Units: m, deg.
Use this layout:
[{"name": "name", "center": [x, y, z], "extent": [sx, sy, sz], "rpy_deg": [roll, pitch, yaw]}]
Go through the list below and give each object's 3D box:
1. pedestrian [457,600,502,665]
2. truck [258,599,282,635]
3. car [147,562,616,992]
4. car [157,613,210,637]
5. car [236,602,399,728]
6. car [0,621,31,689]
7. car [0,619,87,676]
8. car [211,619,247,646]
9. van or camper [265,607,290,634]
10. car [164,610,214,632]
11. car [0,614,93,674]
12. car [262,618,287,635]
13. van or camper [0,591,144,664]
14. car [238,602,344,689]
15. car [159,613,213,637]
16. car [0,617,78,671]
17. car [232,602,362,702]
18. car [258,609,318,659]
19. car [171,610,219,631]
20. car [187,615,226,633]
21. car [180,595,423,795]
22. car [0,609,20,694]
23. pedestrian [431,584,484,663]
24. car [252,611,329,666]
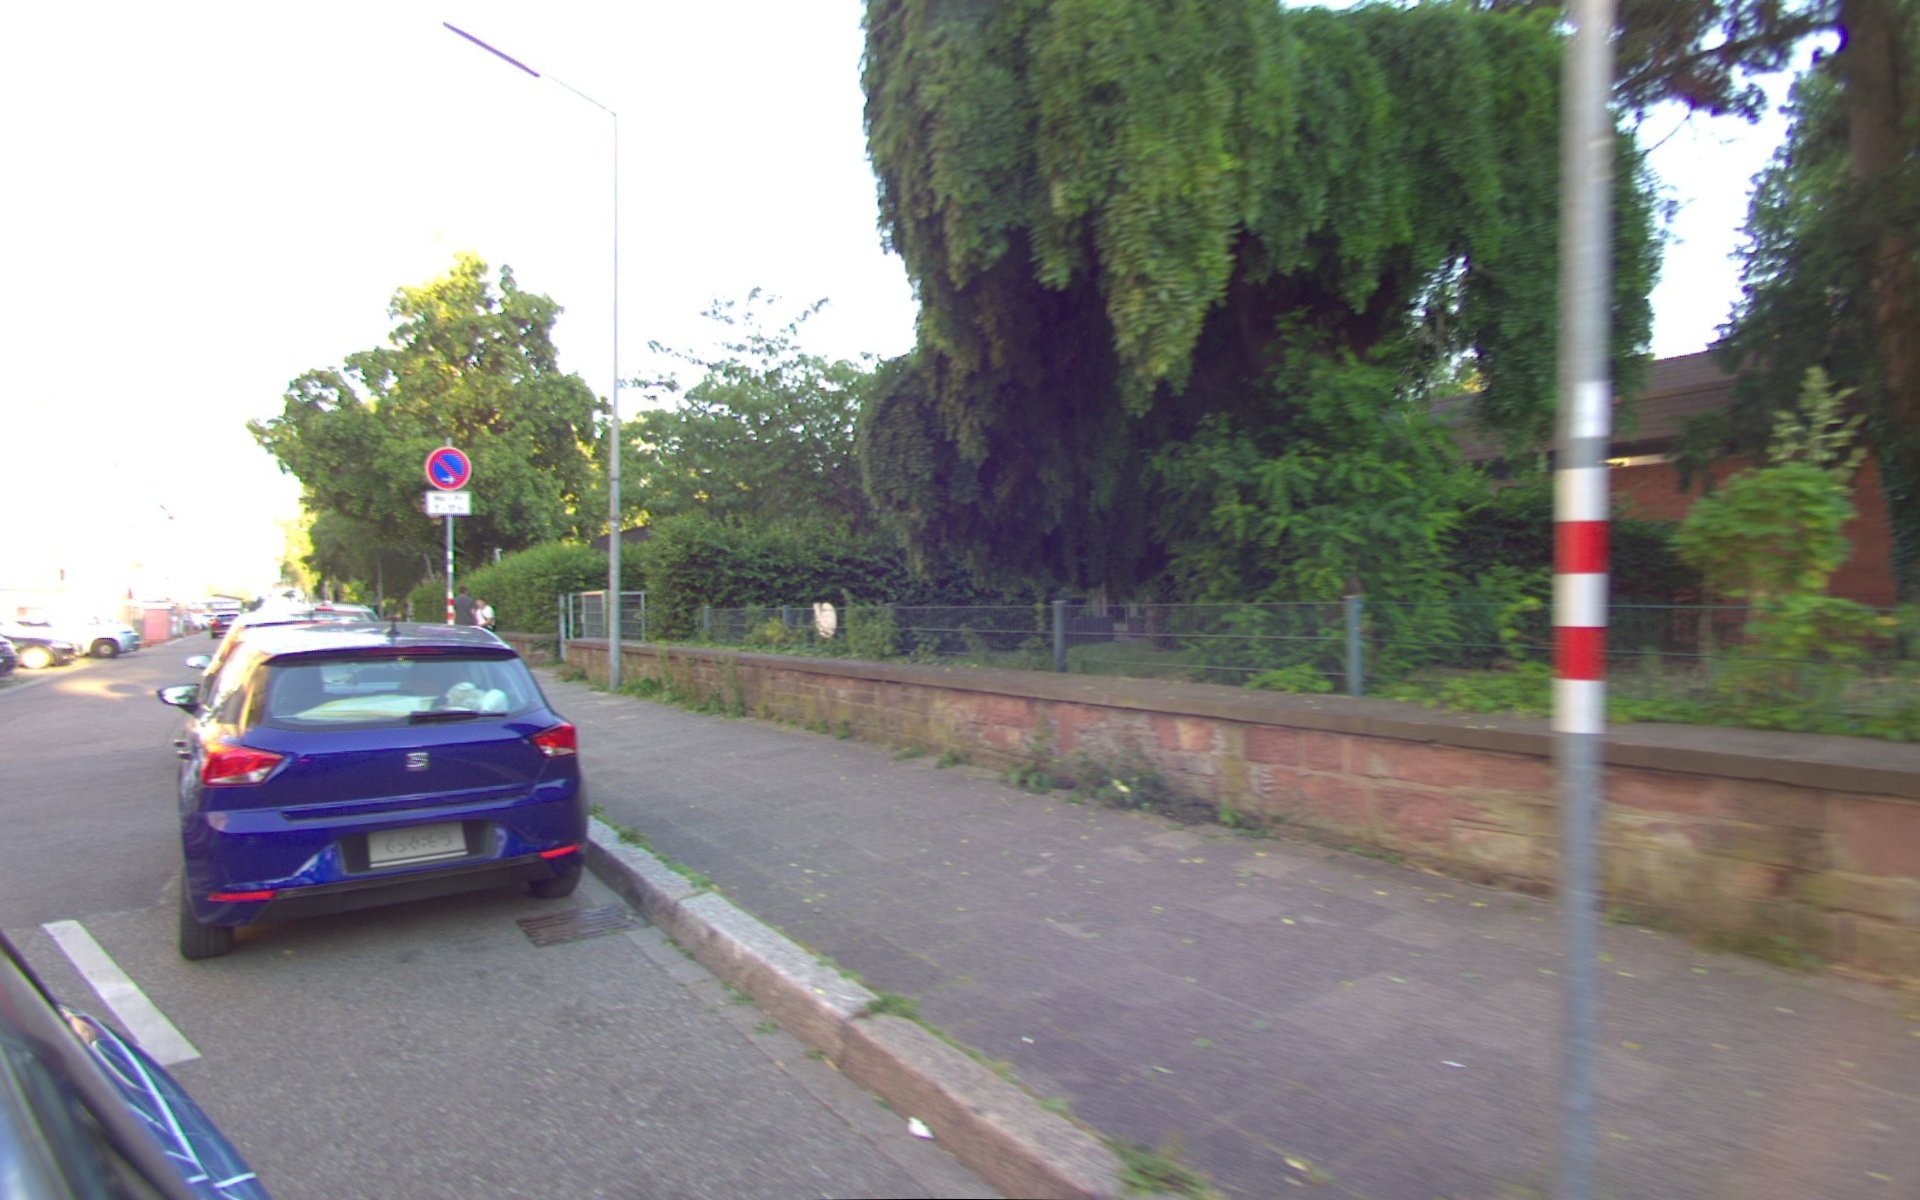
[{"name": "pedestrian", "center": [-11.891, 0.788, 25.044], "extent": [0.738, 1.519, 0.904], "rpy_deg": [-6, 2, -36]}, {"name": "truck", "center": [-79.875, 1.926, 117.173], "extent": [2.148, 3.911, 4.939], "rpy_deg": [-3, 1, -34]}, {"name": "car", "center": [-3.454, 0.676, 5.754], "extent": [1.711, 1.579, 3.799], "rpy_deg": [0, -1, -37]}, {"name": "car", "center": [-75.048, 2.406, 97.860], "extent": [3.934, 2.028, 2.005], "rpy_deg": [-3, 1, -35]}, {"name": "car", "center": [-9.590, 0.859, 14.961], "extent": [1.711, 1.579, 4.139], "rpy_deg": [0, -1, -37]}, {"name": "car", "center": [-25.187, 1.358, 24.020], "extent": [4.343, 1.565, 1.851], "rpy_deg": [0, 1, -32]}, {"name": "car", "center": [-28.702, 1.398, 29.761], "extent": [4.344, 1.565, 1.851], "rpy_deg": [0, 1, -33]}, {"name": "car", "center": [-46.107, 2.020, 63.864], "extent": [1.710, 1.643, 4.136], "rpy_deg": [0, -1, -34]}, {"name": "van or camper", "center": [-64.324, 1.953, 95.352], "extent": [1.796, 2.433, 4.302], "rpy_deg": [0, -1, -35]}, {"name": "car", "center": [-79.843, 2.153, 104.917], "extent": [3.934, 2.028, 2.005], "rpy_deg": [-3, 1, -35]}, {"name": "car", "center": [-30.296, 1.383, 31.796], "extent": [4.342, 1.761, 1.851], "rpy_deg": [0, 1, -30]}, {"name": "car", "center": [-58.113, 2.265, 85.771], "extent": [1.710, 1.377, 4.302], "rpy_deg": [0, -1, -35]}, {"name": "van or camper", "center": [-33.233, 0.975, 36.339], "extent": [5.977, 2.523, 2.055], "rpy_deg": [0, -1, -34]}, {"name": "car", "center": [-15.046, 0.948, 22.670], "extent": [1.711, 1.743, 4.332], "rpy_deg": [0, -1, -37]}, {"name": "car", "center": [-73.320, 2.364, 95.948], "extent": [3.934, 2.028, 2.005], "rpy_deg": [-3, 1, -35]}, {"name": "car", "center": [-32.281, 1.519, 33.510], "extent": [4.344, 1.630, 1.851], "rpy_deg": [-3, 3, -33]}, {"name": "car", "center": [-12.112, 0.869, 18.366], "extent": [1.711, 1.579, 4.176], "rpy_deg": [0, -1, -37]}, {"name": "car", "center": [-23.877, 1.167, 35.985], "extent": [1.710, 1.643, 3.991], "rpy_deg": [0, -1, -34]}, {"name": "car", "center": [-81.353, 2.156, 107.722], "extent": [3.934, 2.028, 2.005], "rpy_deg": [-3, 1, -35]}, {"name": "car", "center": [-98.127, 3.138, 131.783], "extent": [3.934, 2.028, 2.005], "rpy_deg": [-3, 1, -35]}, {"name": "car", "center": [-6.535, 0.783, 10.039], "extent": [1.710, 1.579, 3.706], "rpy_deg": [0, -1, -35]}, {"name": "car", "center": [-23.601, 1.165, 21.966], "extent": [4.452, 1.877, 1.850], "rpy_deg": [0, 0, -35]}, {"name": "pedestrian", "center": [-11.750, 0.548, 23.663], "extent": [0.887, 1.745, 0.752], "rpy_deg": [-6, 2, -36]}, {"name": "car", "center": [-20.799, 1.158, 31.352], "extent": [1.736, 1.554, 4.290], "rpy_deg": [0, -1, -37]}]
